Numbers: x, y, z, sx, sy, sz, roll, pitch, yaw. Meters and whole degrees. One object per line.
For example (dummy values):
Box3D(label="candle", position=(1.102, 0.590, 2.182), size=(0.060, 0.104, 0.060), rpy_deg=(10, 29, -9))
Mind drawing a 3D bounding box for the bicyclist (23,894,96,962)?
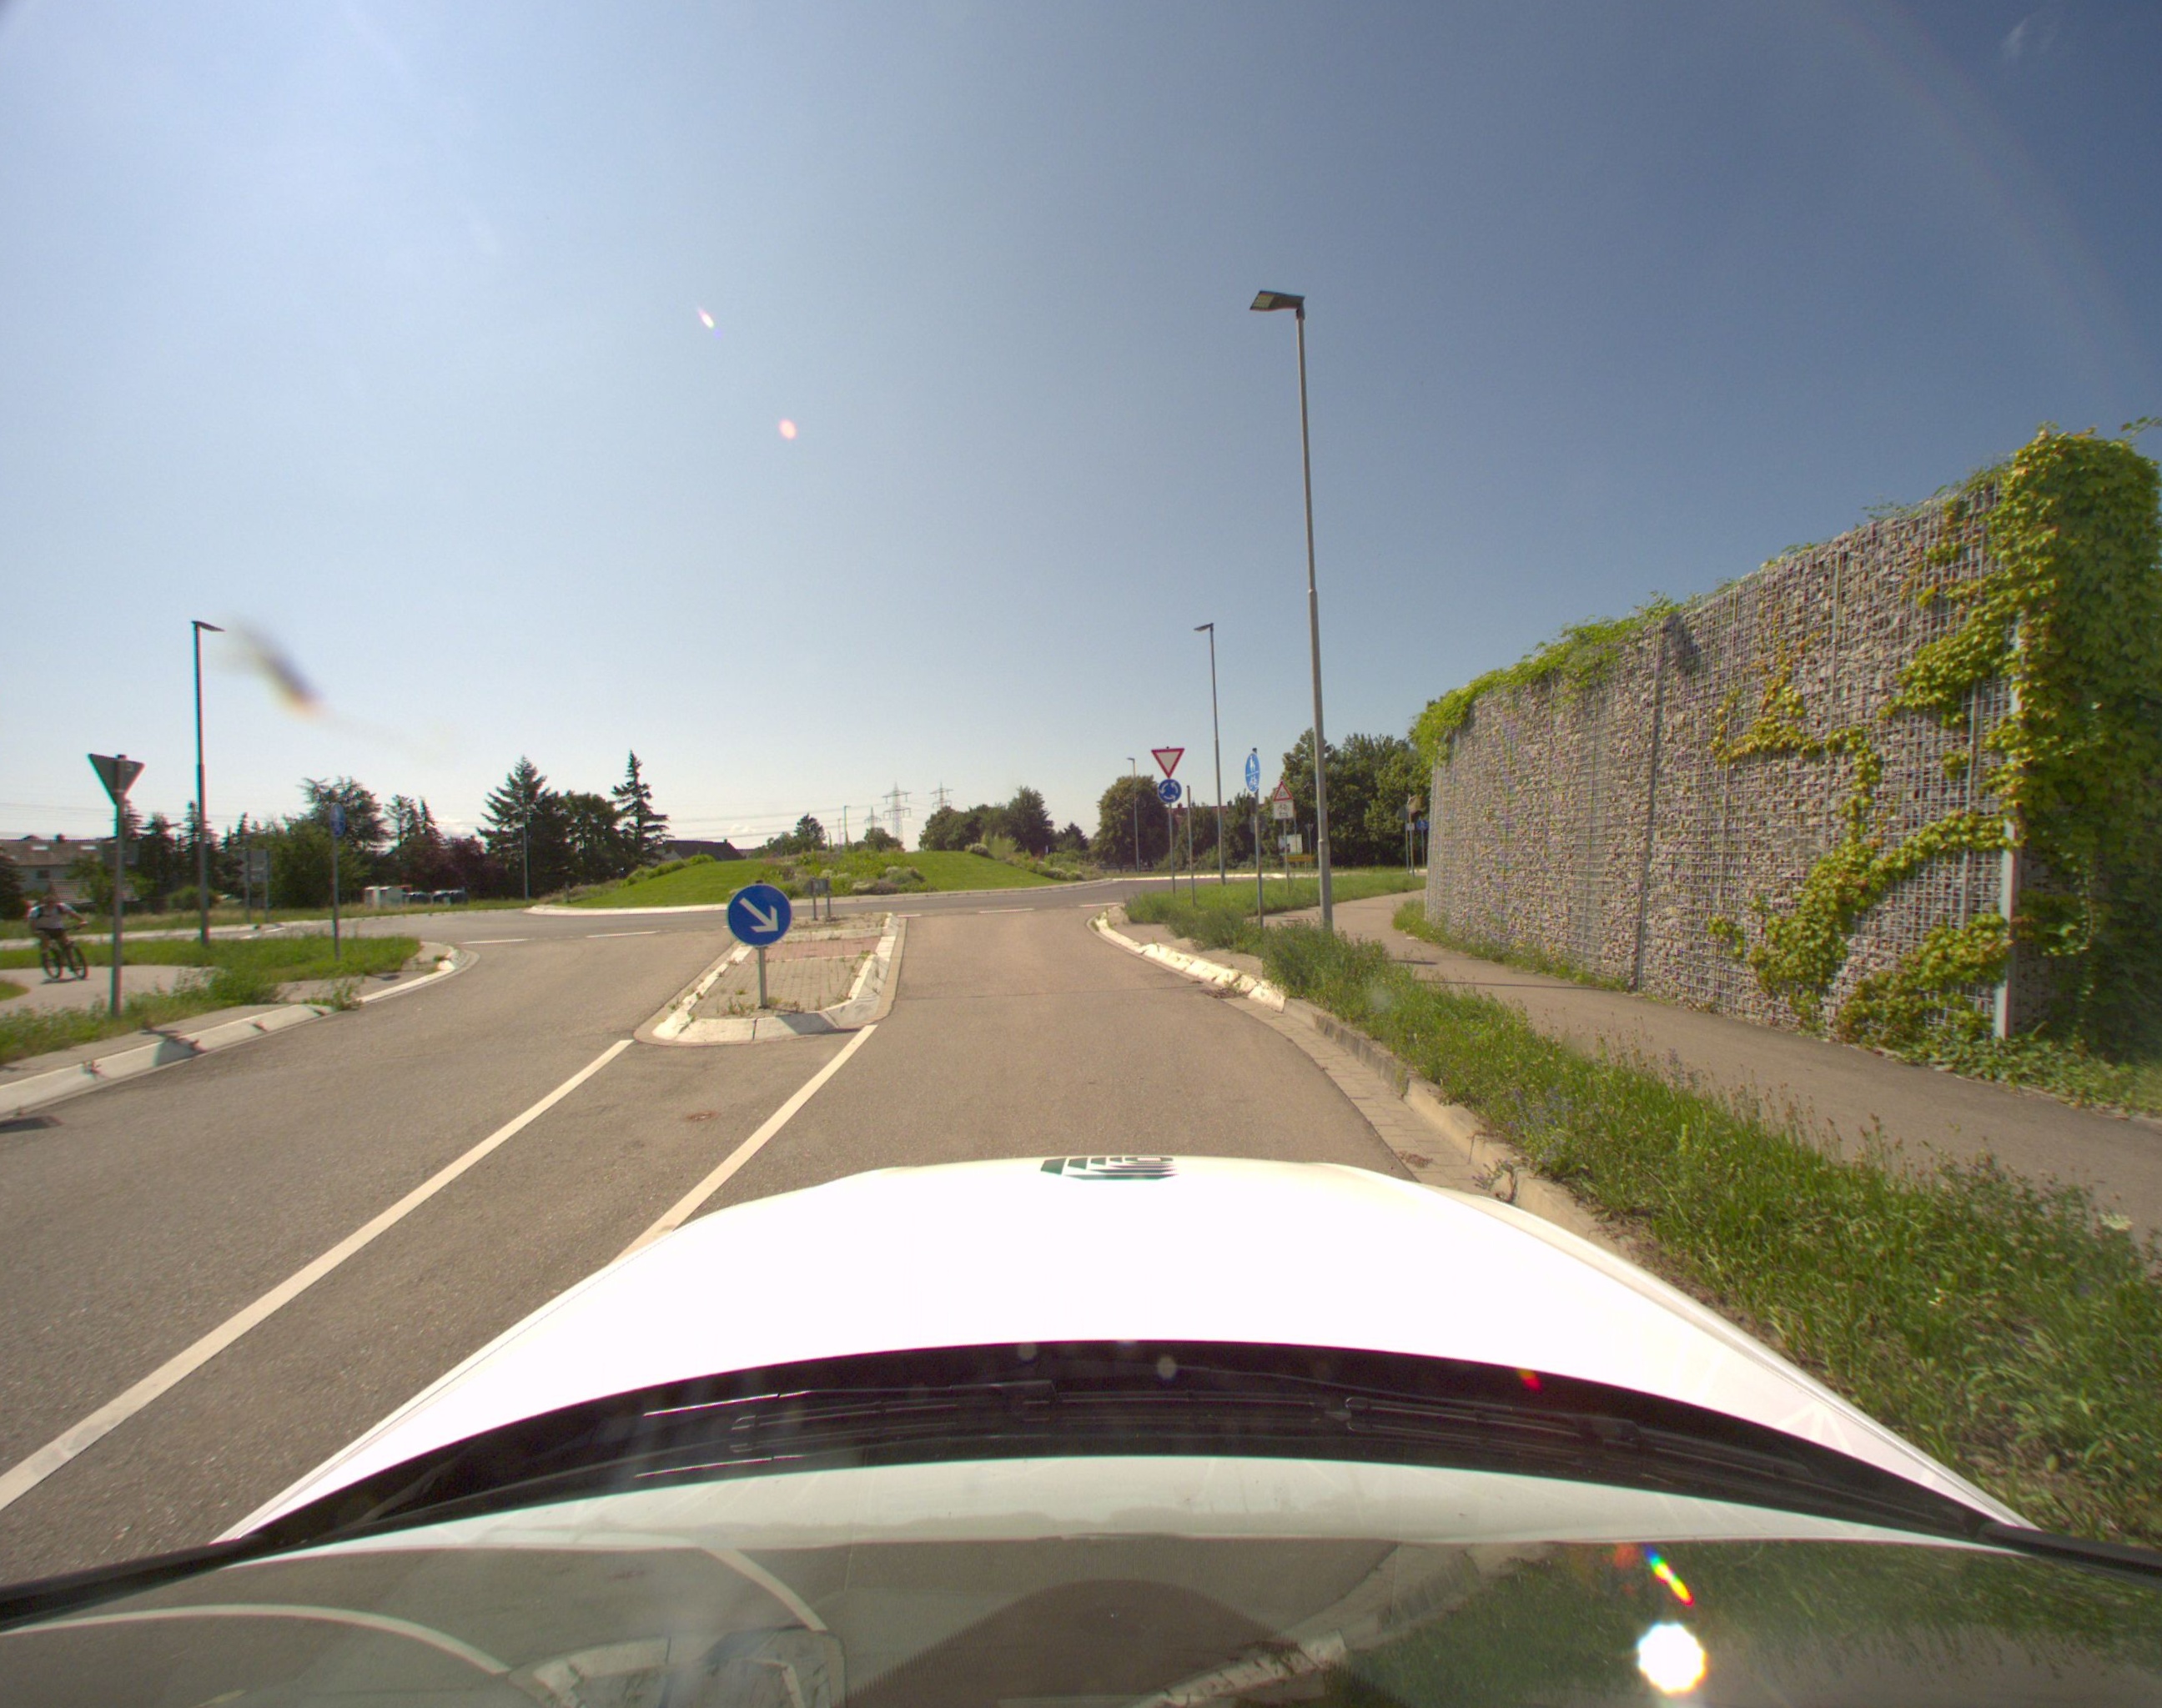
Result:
Box3D(label="bicyclist", position=(-21.073, 1.517, 16.801), size=(0.892, 1.297, 0.758), rpy_deg=(-3, 0, 29))

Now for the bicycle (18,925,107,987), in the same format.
Box3D(label="bicycle", position=(-20.863, 2.054, 16.673), size=(2.019, 1.115, 0.758), rpy_deg=(-3, 0, 29))
